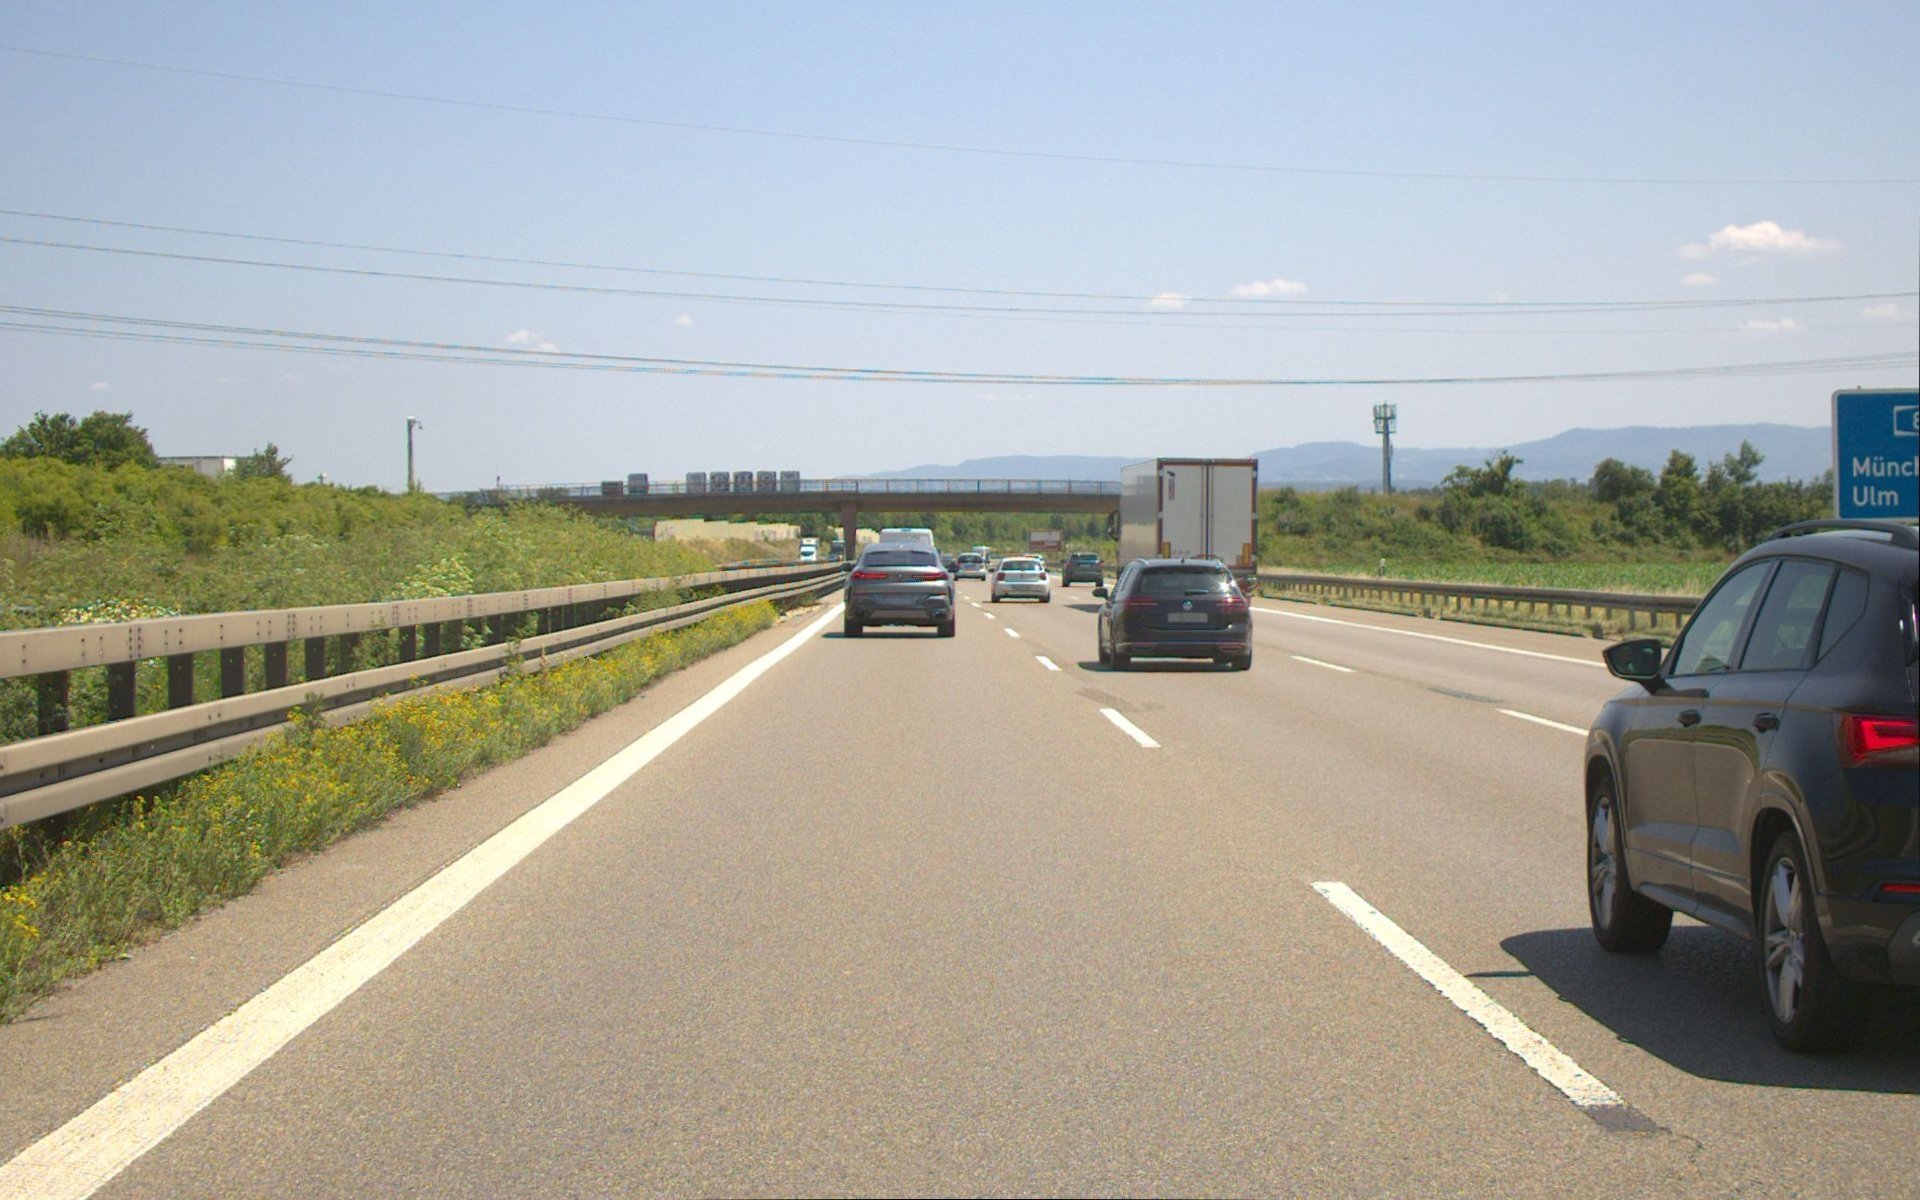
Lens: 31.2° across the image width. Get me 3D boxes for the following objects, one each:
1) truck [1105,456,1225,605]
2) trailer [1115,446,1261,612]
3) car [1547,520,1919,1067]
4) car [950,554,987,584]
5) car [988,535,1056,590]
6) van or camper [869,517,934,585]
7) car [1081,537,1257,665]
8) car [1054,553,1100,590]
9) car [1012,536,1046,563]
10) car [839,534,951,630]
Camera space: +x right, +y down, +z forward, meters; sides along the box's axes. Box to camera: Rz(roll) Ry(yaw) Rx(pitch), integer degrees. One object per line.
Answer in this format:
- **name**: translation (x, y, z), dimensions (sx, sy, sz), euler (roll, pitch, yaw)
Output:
- **truck**: translation (6.016, -2.023, 101.893), dimensions (2.979, 4.213, 7.687), euler (1, 1, 0)
- **trailer**: translation (6.126, -1.889, 94.463), dimensions (2.943, 4.184, 13.597), euler (1, 1, 0)
- **car**: translation (3.268, 0.541, 11.728), dimensions (1.796, 1.556, 3.824), euler (1, 1, -1)
- **car**: translation (0.479, -1.771, 195.234), dimensions (1.993, 1.677, 4.000), euler (1, 1, 0)
- **car**: translation (1.922, -1.185, 107.865), dimensions (1.993, 1.677, 4.000), euler (1, 1, 0)
- **van or camper**: translation (-1.962, -1.659, 116.276), dimensions (2.110, 2.204, 5.266), euler (1, 1, 0)
- **car**: translation (2.707, -0.019, 45.581), dimensions (1.933, 1.569, 4.935), euler (1, 1, -1)
- **car**: translation (5.470, -1.355, 160.967), dimensions (1.993, 1.677, 4.000), euler (1, 1, 0)
- **car**: translation (4.318, -3.151, 216.129), dimensions (1.993, 1.677, 4.000), euler (1, 1, 0)
- **car**: translation (-1.203, -0.342, 62.126), dimensions (1.851, 1.658, 3.735), euler (1, 1, -3)
